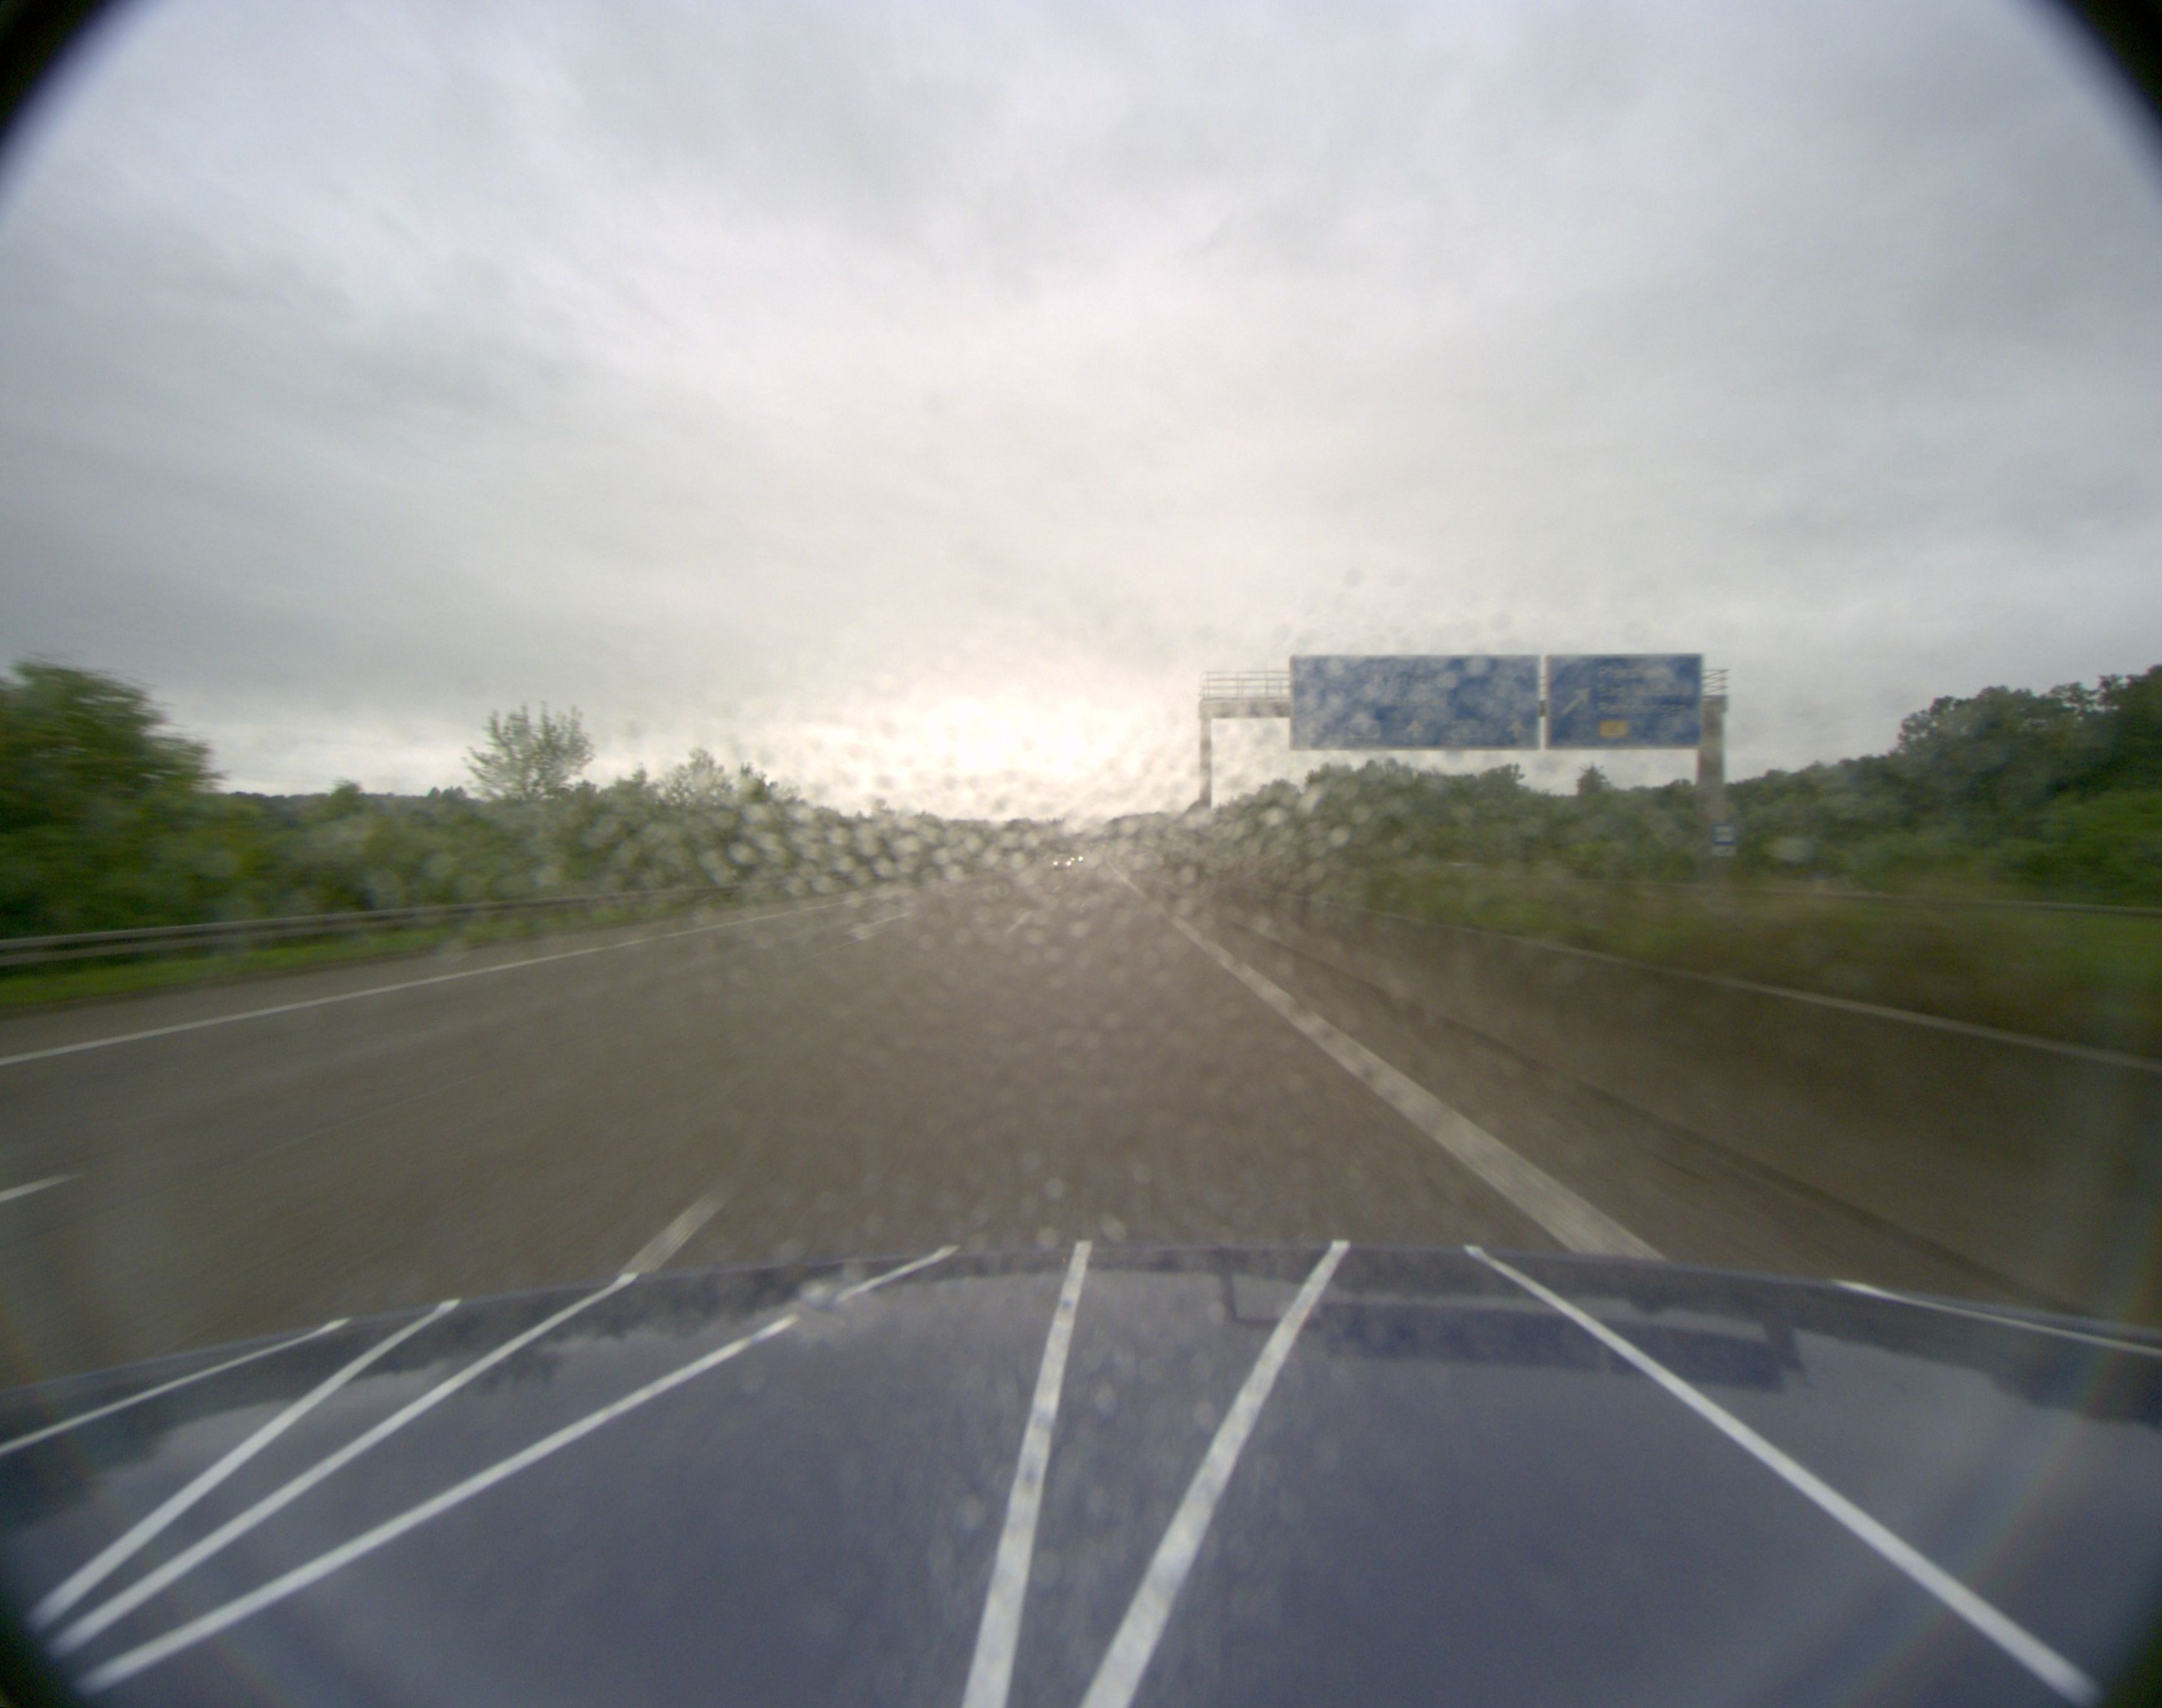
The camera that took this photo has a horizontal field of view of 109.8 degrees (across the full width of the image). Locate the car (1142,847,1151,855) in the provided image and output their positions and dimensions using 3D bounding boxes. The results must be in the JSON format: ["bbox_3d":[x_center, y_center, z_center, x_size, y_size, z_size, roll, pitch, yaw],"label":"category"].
[{"bbox_3d":[18.619,-0.935,215.367,2.282,2.317,6.176,0,0,4],"label":"car"}]

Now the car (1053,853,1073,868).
[{"bbox_3d":[-1.912,0.699,82.403,1.932,1.521,4.298,0,0,1],"label":"car"}]

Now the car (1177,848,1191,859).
[{"bbox_3d":[19.798,-0.107,146.856,1.998,2.155,6.417,0,0,2],"label":"car"}]

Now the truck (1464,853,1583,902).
[{"bbox_3d":[14.968,0.741,25.972,1.742,1.517,4.000,-1,0,0],"label":"truck"}]

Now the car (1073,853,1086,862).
[{"bbox_3d":[-0.274,0.617,137.960,2.008,1.456,4.001,0,1,4],"label":"car"}]

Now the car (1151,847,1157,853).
[{"bbox_3d":[22.966,-1.404,239.481,1.746,1.893,4.530,0,1,2],"label":"car"}]
